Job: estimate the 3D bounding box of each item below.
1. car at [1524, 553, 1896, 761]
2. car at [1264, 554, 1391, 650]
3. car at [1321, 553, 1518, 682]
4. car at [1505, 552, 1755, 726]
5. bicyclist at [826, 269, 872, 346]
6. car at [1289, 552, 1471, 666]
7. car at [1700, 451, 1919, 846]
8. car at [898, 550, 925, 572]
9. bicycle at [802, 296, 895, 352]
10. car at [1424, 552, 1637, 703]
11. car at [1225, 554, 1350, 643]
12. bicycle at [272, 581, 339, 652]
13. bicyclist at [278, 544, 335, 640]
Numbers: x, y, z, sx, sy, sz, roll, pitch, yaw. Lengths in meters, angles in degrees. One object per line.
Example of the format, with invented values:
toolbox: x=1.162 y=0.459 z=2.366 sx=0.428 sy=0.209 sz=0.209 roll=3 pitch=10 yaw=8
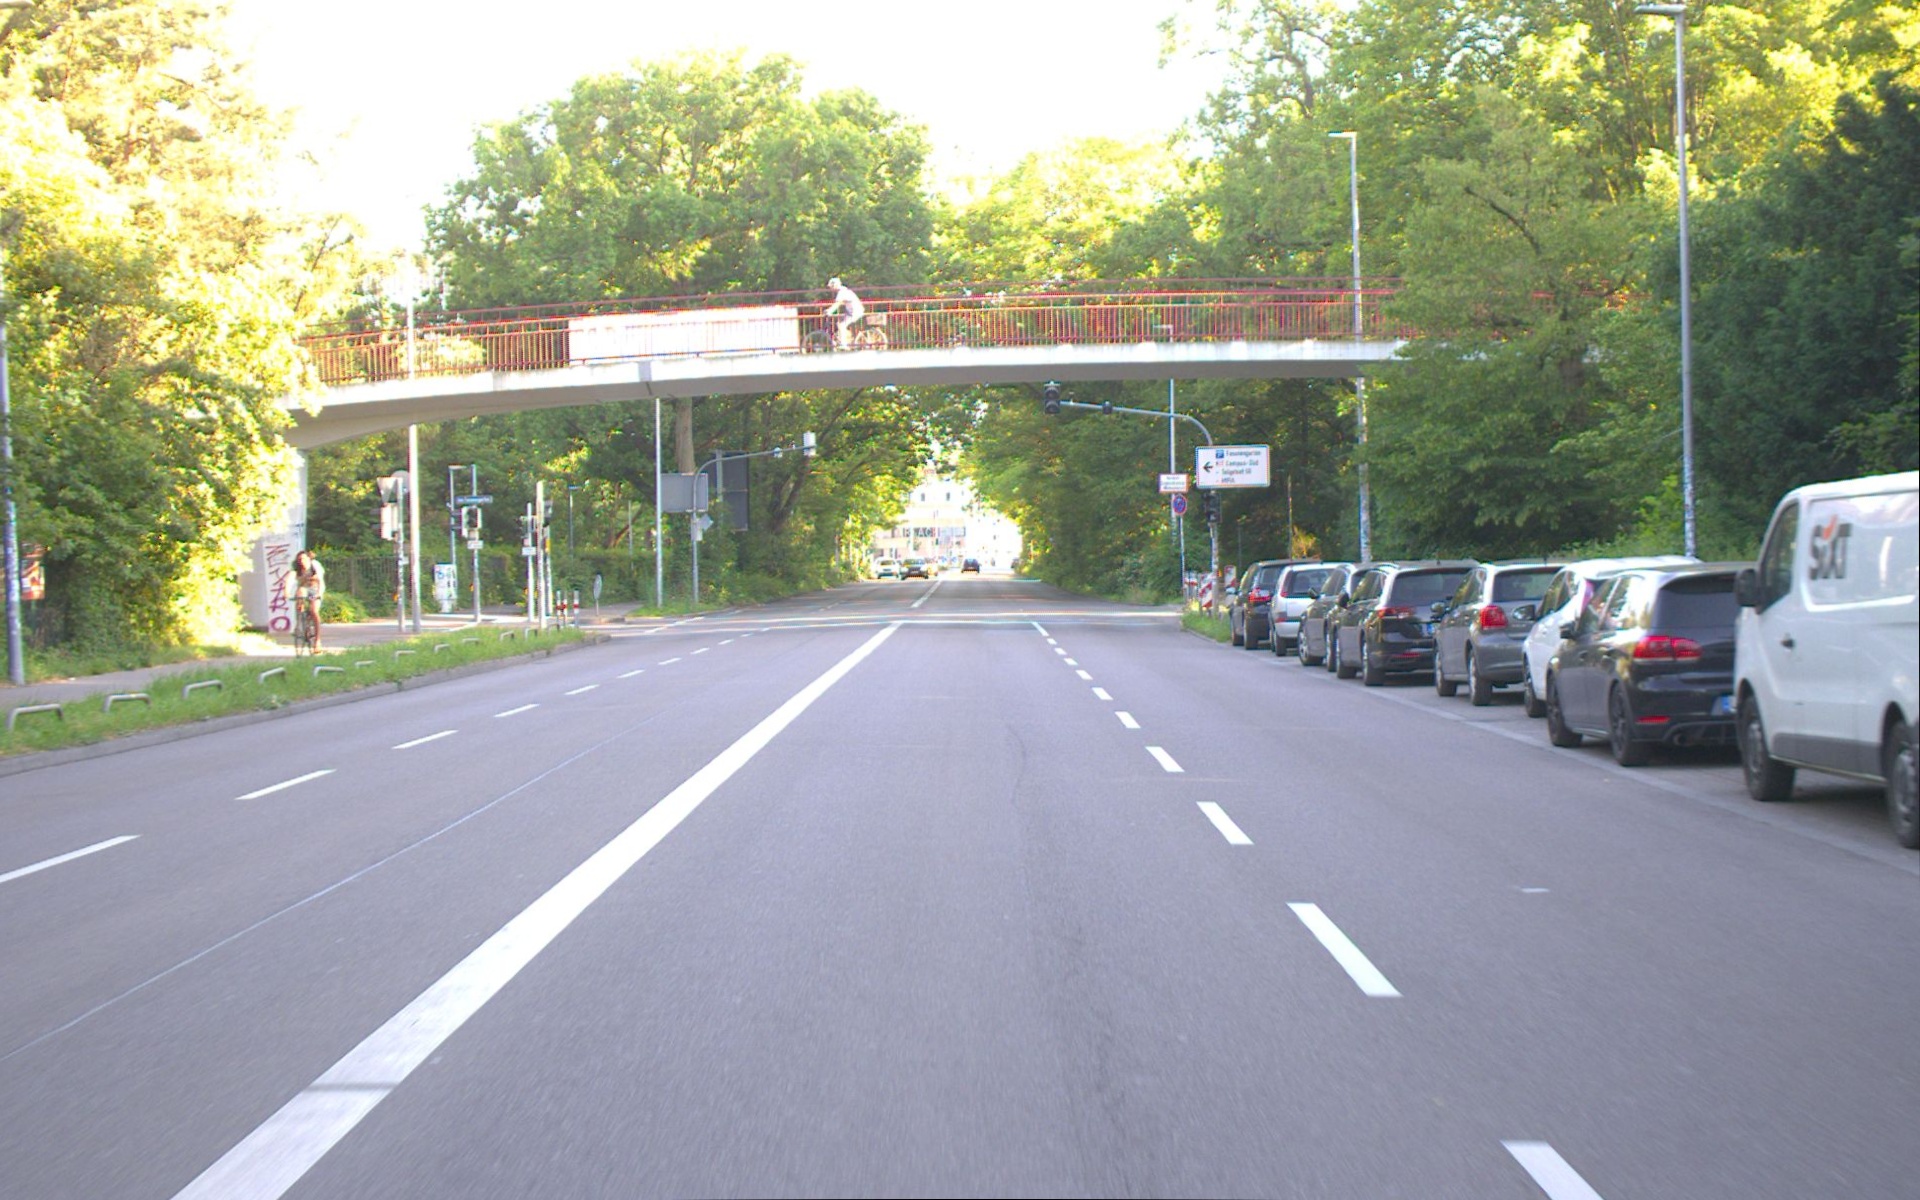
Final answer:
car: x=5.573 y=0.375 z=26.099 sx=1.868 sy=1.401 sz=4.369 roll=-1 pitch=1 yaw=0
car: x=5.863 y=0.010 z=55.209 sx=1.774 sy=1.449 sz=4.014 roll=-1 pitch=1 yaw=3
car: x=5.582 y=0.178 z=42.286 sx=1.637 sy=1.449 sz=4.898 roll=-2 pitch=1 yaw=-1
car: x=6.025 y=0.317 z=31.265 sx=1.586 sy=1.449 sz=3.798 roll=-1 pitch=0 yaw=1
bicyclist: x=-2.384 y=-6.291 z=74.024 sx=0.970 sy=1.580 sz=0.714 roll=1 pitch=0 yaw=-1
car: x=5.766 y=0.095 z=47.720 sx=1.774 sy=1.449 sz=5.038 roll=-2 pitch=1 yaw=-1
car: x=5.728 y=0.200 z=19.504 sx=1.868 sy=1.974 sz=5.475 roll=-1 pitch=1 yaw=0
car: x=-3.377 y=-2.712 z=239.327 sx=1.887 sy=1.501 sz=4.364 roll=-1 pitch=1 yaw=-1
bicycle: x=-2.399 y=-5.941 z=74.026 sx=1.987 sy=1.143 sz=0.714 roll=1 pitch=0 yaw=-1
car: x=5.900 y=0.255 z=35.920 sx=1.586 sy=1.449 sz=3.943 roll=-1 pitch=1 yaw=1
car: x=5.642 y=-0.045 z=59.621 sx=1.774 sy=1.449 sz=4.388 roll=-1 pitch=1 yaw=1
bicycle: x=-10.801 y=0.262 z=56.803 sx=0.712 sy=1.143 sz=1.993 roll=1 pitch=0 yaw=0
bicyclist: x=-10.791 y=-0.133 z=56.799 sx=0.712 sy=1.553 sz=1.143 roll=1 pitch=0 yaw=0
